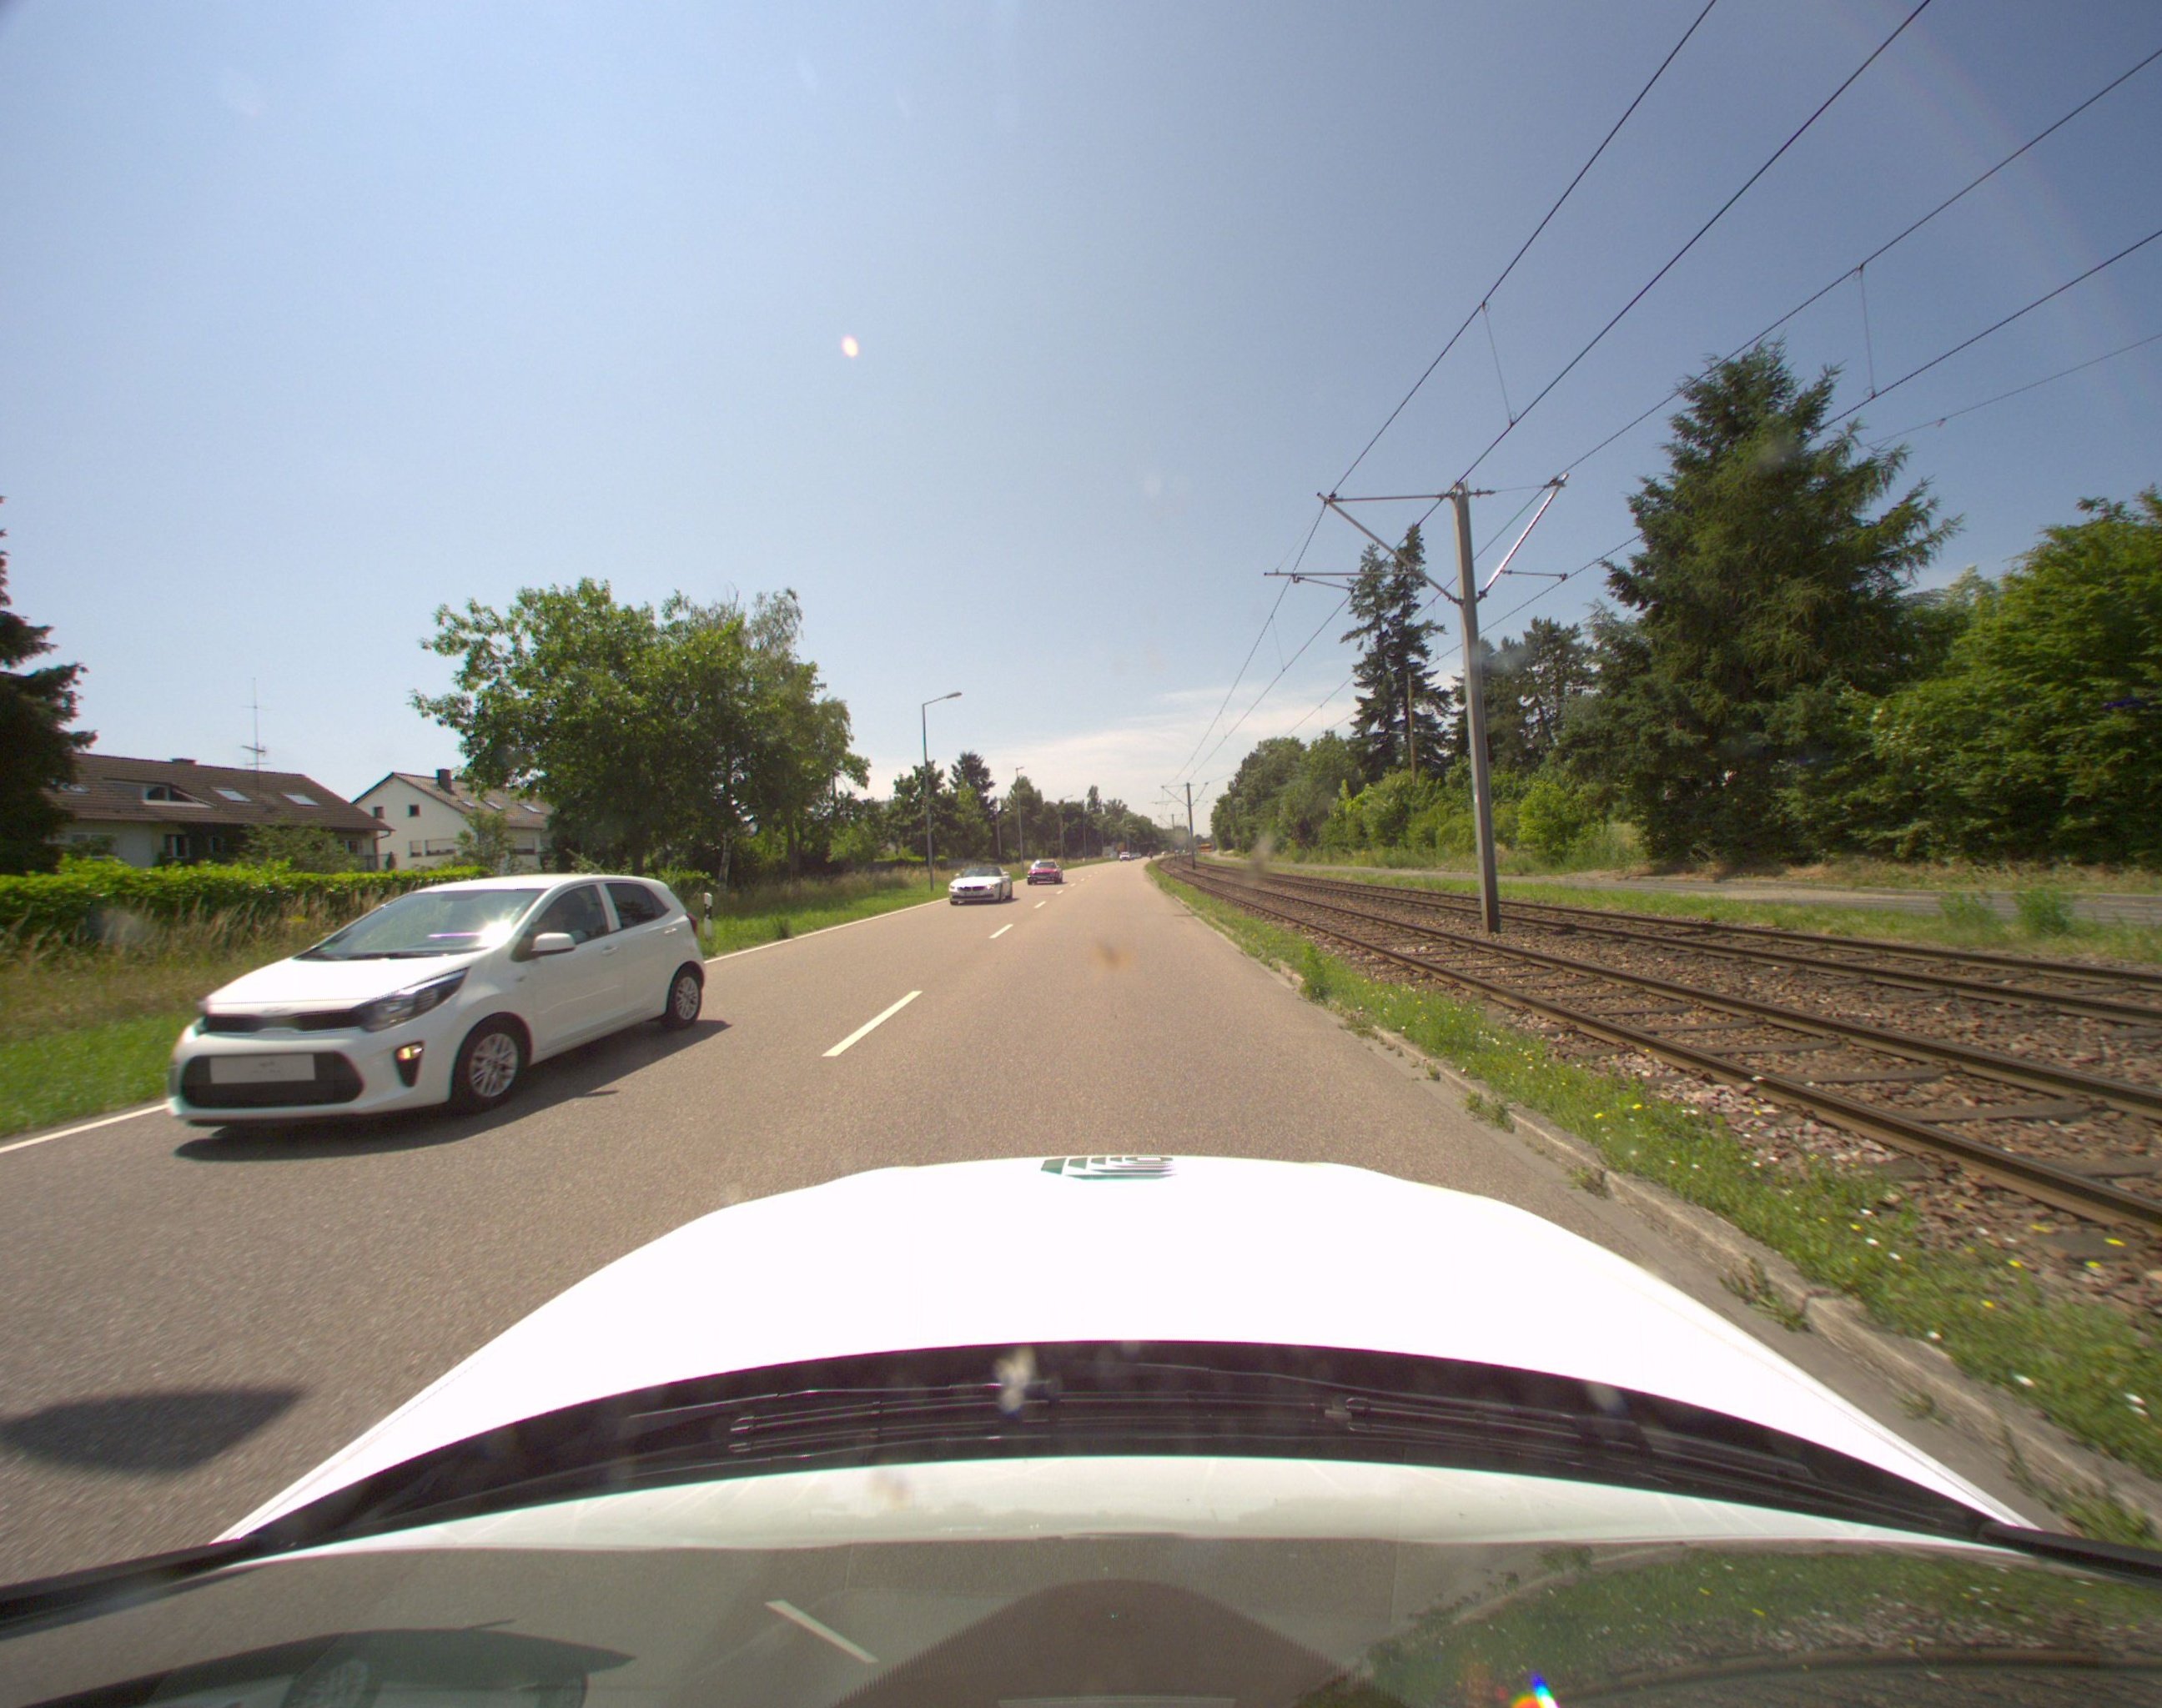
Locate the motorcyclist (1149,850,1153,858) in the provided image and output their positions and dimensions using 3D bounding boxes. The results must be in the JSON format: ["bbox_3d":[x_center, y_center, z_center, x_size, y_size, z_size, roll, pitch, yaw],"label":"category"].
[{"bbox_3d":[16.795,-0.022,196.481,0.887,1.905,1.017,-3,-1,6],"label":"motorcyclist"}]

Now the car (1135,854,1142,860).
[{"bbox_3d":[15.680,0.734,221.693,1.809,1.493,4.369,-3,0,5],"label":"car"}]

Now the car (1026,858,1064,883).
[{"bbox_3d":[-2.022,0.923,46.699,1.742,1.301,4.255,-3,0,2],"label":"car"}]

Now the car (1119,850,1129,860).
[{"bbox_3d":[8.632,0.169,162.777,1.926,1.796,4.718,-3,0,5],"label":"car"}]

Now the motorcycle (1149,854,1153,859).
[{"bbox_3d":[16.858,0.523,196.623,0.965,1.117,2.737,-3,0,6],"label":"motorcycle"}]

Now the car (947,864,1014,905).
[{"bbox_3d":[-3.447,1.018,28.531,1.676,1.249,3.911,-3,0,2],"label":"car"}]

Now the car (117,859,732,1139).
[{"bbox_3d":[-4.520,0.831,6.463,1.740,1.503,3.709,-3,0,2],"label":"car"}]

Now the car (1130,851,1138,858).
[{"bbox_3d":[13.382,0.094,205.640,1.809,1.493,4.369,-3,0,5],"label":"car"}]
